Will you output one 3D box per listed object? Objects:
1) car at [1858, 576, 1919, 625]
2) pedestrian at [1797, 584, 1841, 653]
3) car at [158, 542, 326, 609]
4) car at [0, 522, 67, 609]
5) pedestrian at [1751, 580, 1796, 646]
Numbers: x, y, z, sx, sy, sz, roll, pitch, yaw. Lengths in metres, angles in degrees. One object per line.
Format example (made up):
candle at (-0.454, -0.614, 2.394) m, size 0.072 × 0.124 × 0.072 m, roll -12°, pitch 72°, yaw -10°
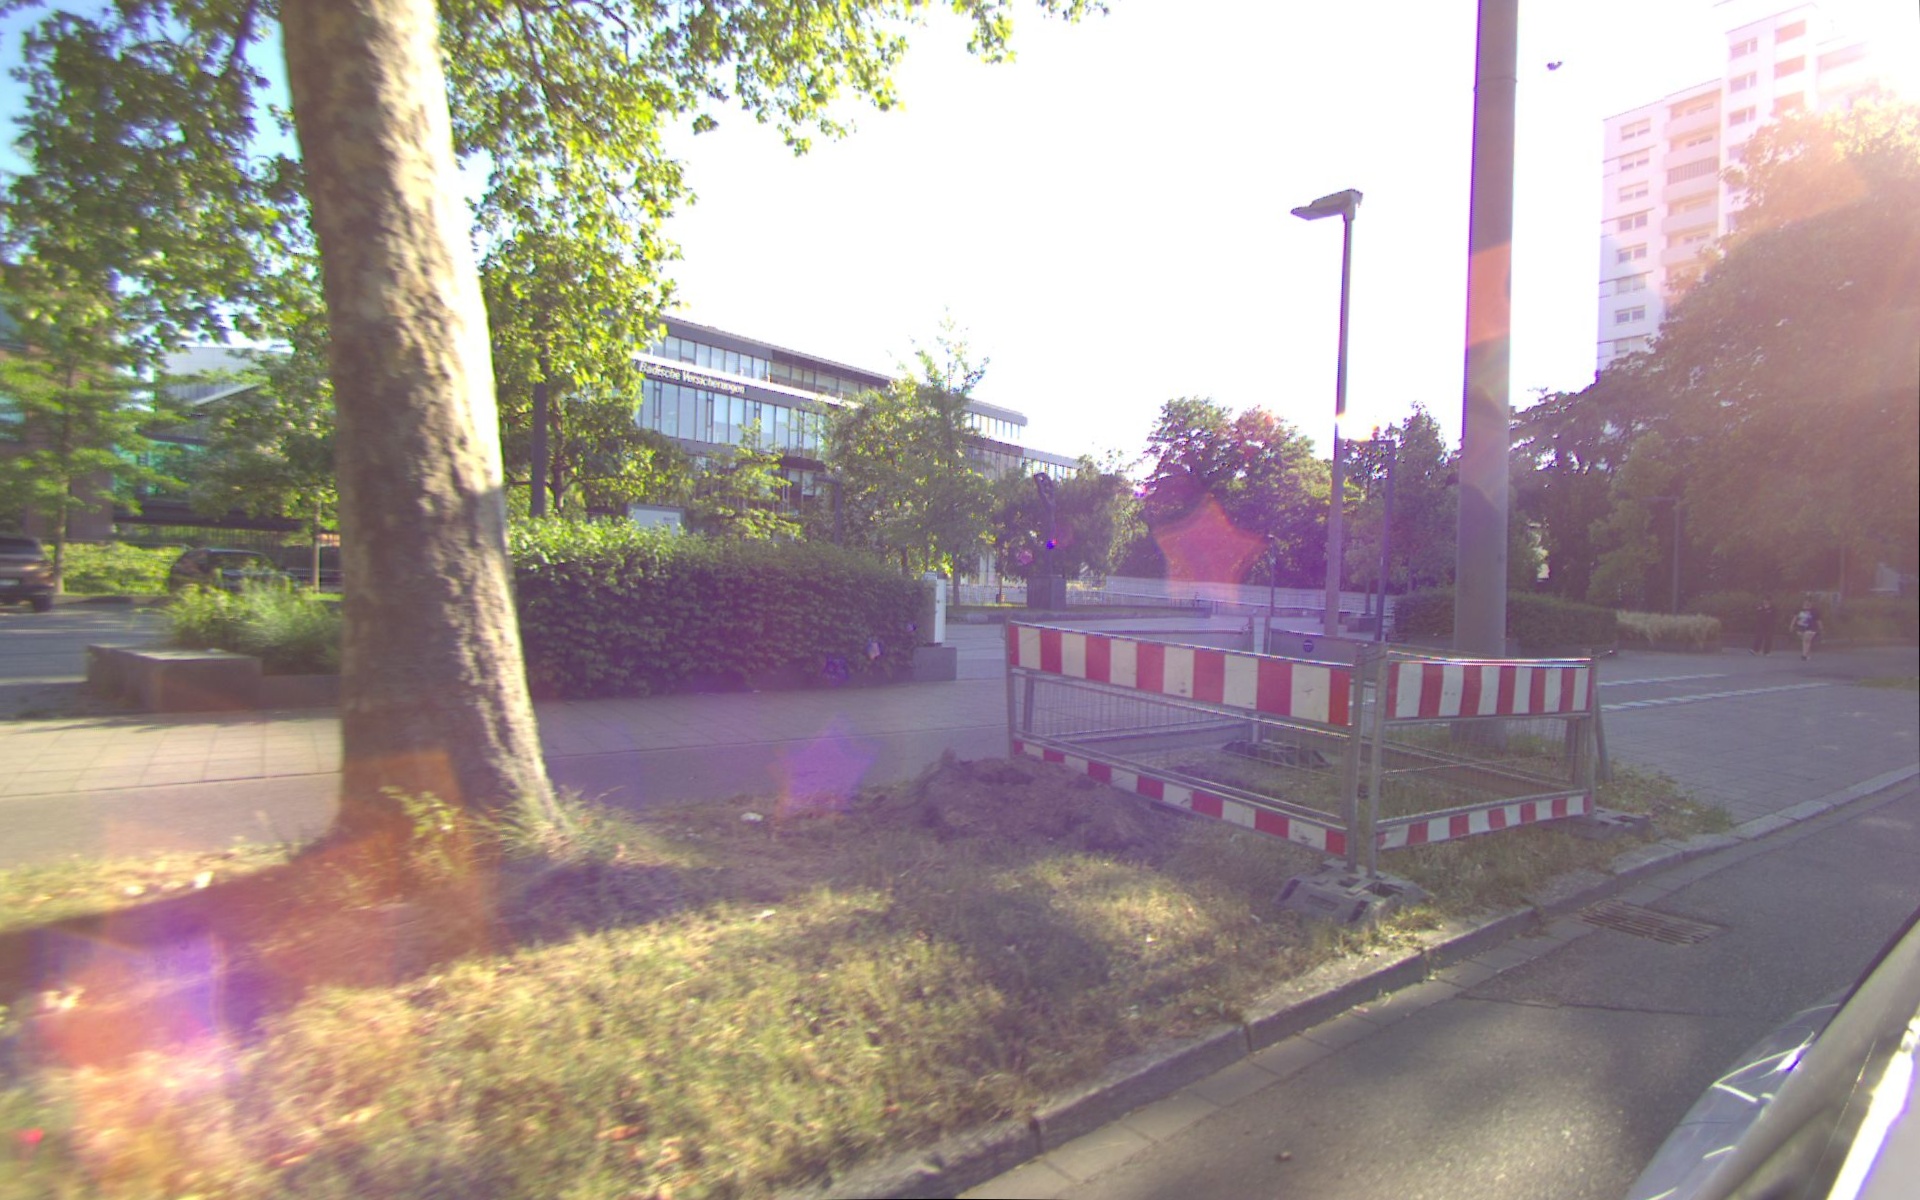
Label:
car at (51.496, 0.051, 55.323) m, size 6.222 × 2.531 × 2.001 m, roll 0°, pitch -1°, yaw -33°
pedestrian at (21.531, 0.465, 25.372) m, size 0.726 × 1.677 × 0.630 m, roll 1°, pitch 2°, yaw -35°
car at (-17.698, -0.618, 24.866) m, size 4.660 × 1.503 × 2.045 m, roll 2°, pitch 1°, yaw 37°
car at (-21.217, -0.817, 21.816) m, size 4.661 × 1.735 × 2.045 m, roll 4°, pitch 1°, yaw 37°
pedestrian at (21.050, 0.329, 26.186) m, size 0.768 × 1.677 × 0.652 m, roll 1°, pitch 2°, yaw -35°
